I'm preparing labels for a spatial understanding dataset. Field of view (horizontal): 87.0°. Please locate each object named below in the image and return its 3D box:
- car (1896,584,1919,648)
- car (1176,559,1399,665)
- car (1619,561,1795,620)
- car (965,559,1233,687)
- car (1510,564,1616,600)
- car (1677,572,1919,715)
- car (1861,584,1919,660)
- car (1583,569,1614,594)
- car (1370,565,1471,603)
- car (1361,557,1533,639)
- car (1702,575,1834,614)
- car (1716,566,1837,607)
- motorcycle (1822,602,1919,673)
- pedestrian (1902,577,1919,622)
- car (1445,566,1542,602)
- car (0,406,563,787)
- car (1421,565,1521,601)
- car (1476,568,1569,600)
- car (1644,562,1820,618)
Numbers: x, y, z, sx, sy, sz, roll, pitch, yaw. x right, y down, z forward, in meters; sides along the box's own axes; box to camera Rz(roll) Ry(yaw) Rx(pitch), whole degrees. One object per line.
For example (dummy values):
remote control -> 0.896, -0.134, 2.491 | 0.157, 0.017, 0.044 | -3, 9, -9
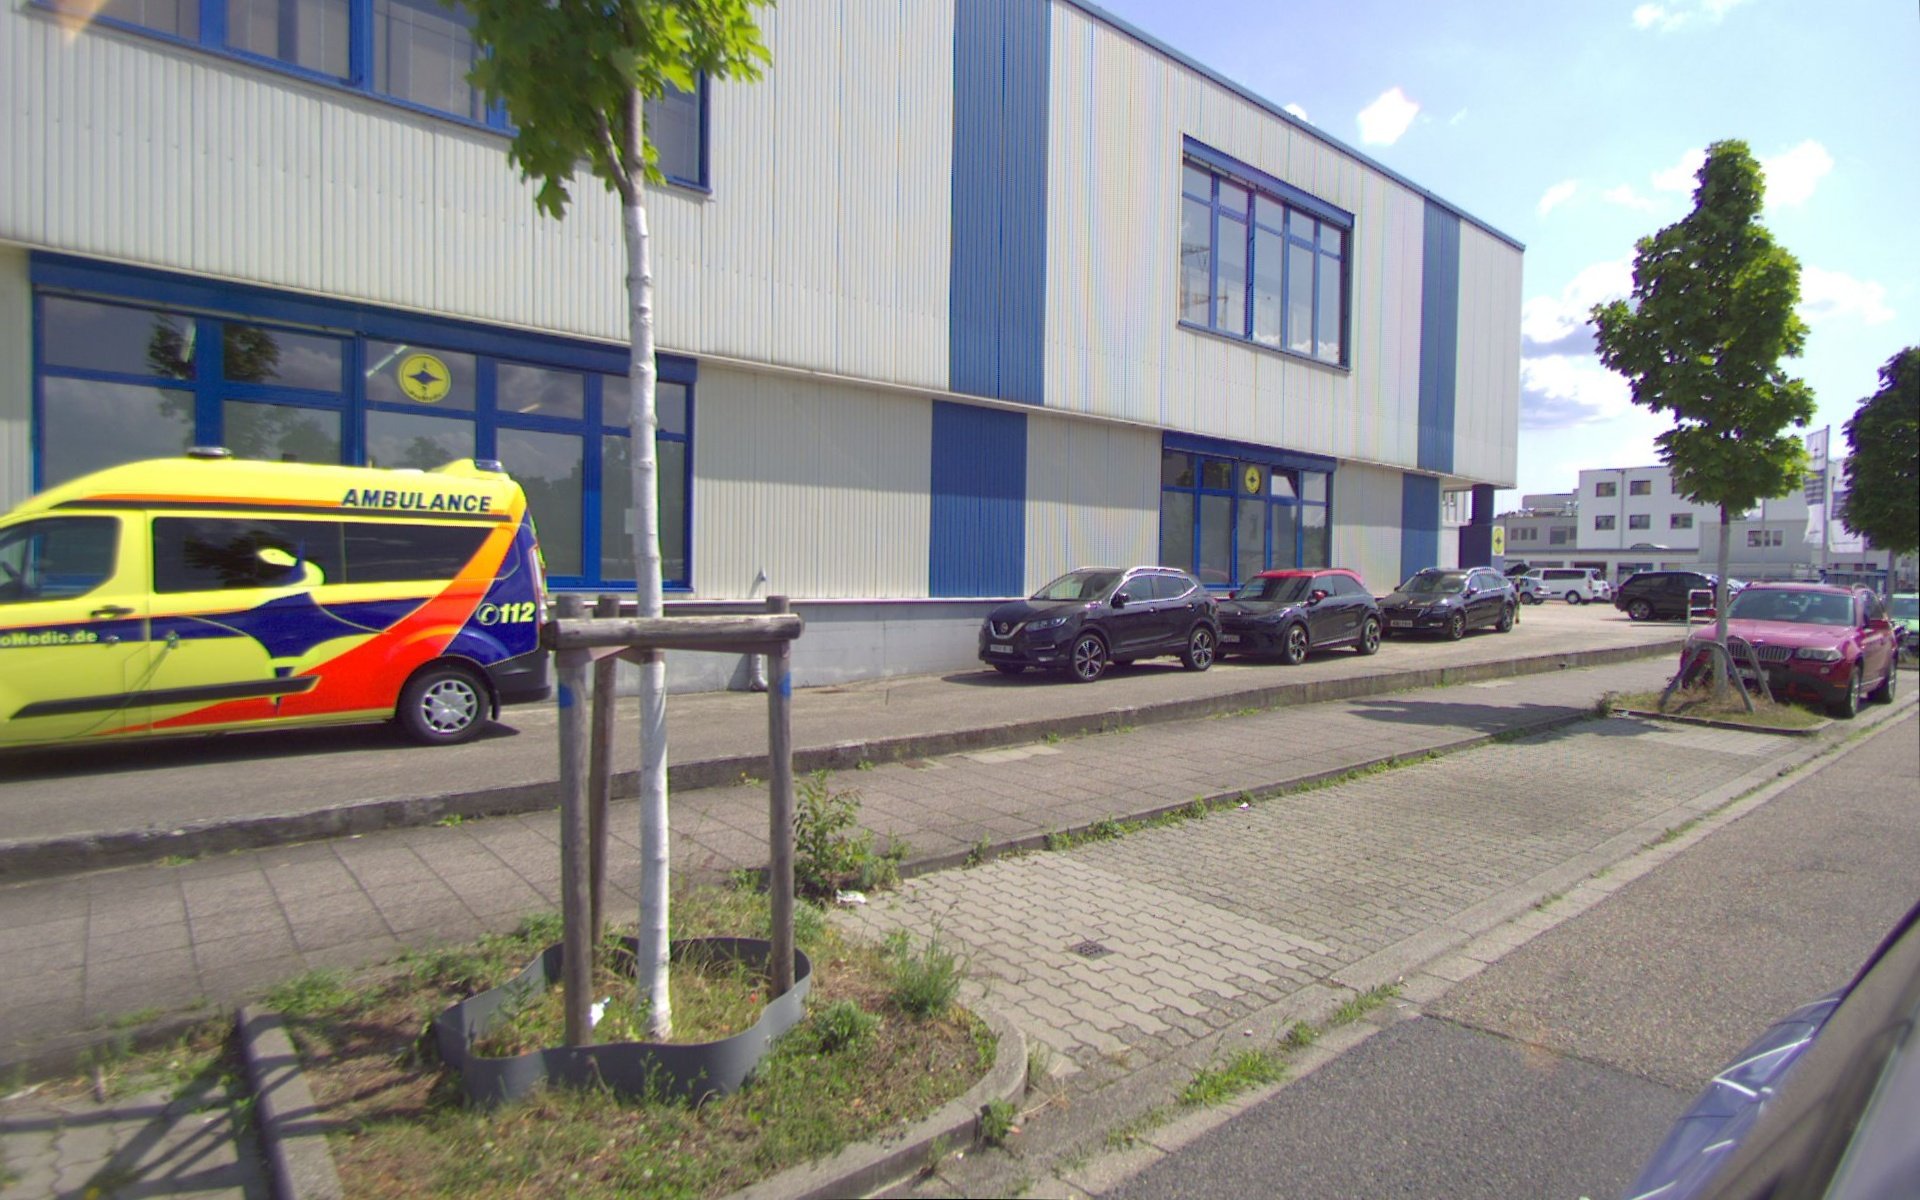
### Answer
car -> 25.624, 0.397, 26.037 | 4.384, 1.539, 1.838 | -1, 2, -41
car -> 6.086, 0.108, 18.605 | 4.216, 1.677, 1.998 | -3, 4, -41
car -> 23.302, -0.360, 31.677 | 1.966, 1.707, 4.091 | -1, 2, -41
car -> 2.190, 0.228, 15.303 | 4.141, 1.672, 1.718 | -2, 3, -41
car -> 34.323, -1.065, 57.731 | 2.235, 1.960, 4.691 | 0, 2, -38
car -> 11.719, 0.455, 14.039 | 4.594, 1.671, 1.759 | -1, 2, -40
car -> 21.559, 0.447, 22.573 | 3.925, 1.539, 1.672 | -1, 2, -41
car -> 41.994, -1.239, 66.602 | 1.545, 1.540, 3.957 | 2, 2, 31
car -> 22.315, -0.815, 49.126 | 1.901, 1.722, 3.995 | 0, 2, -41
car -> 11.039, -0.126, 22.829 | 4.561, 1.530, 1.831 | -4, 5, -41
car -> 33.666, -0.277, 42.237 | 1.964, 1.437, 3.997 | 0, 3, -40
car -> 35.353, -0.611, 43.888 | 1.760, 1.701, 3.814 | -1, 2, -40
motorcycle -> 17.055, 0.657, 18.552 | 2.313, 1.215, 0.860 | 0, 2, -20
pedestrian -> 38.656, -0.038, 40.847 | 0.773, 1.777, 0.771 | -1, 4, -41
car -> 27.235, -0.851, 51.783 | 1.775, 1.711, 3.995 | 0, 2, -40
car -> -6.114, -0.063, 8.050 | 5.168, 2.494, 1.927 | -1, 2, -41
car -> 25.223, -0.869, 50.042 | 1.775, 1.650, 3.995 | 0, 2, -40
car -> 29.930, -0.873, 53.949 | 1.829, 1.504, 3.897 | -1, 4, -36
car -> 25.158, -0.369, 33.075 | 2.111, 1.667, 4.233 | -1, 2, -41
